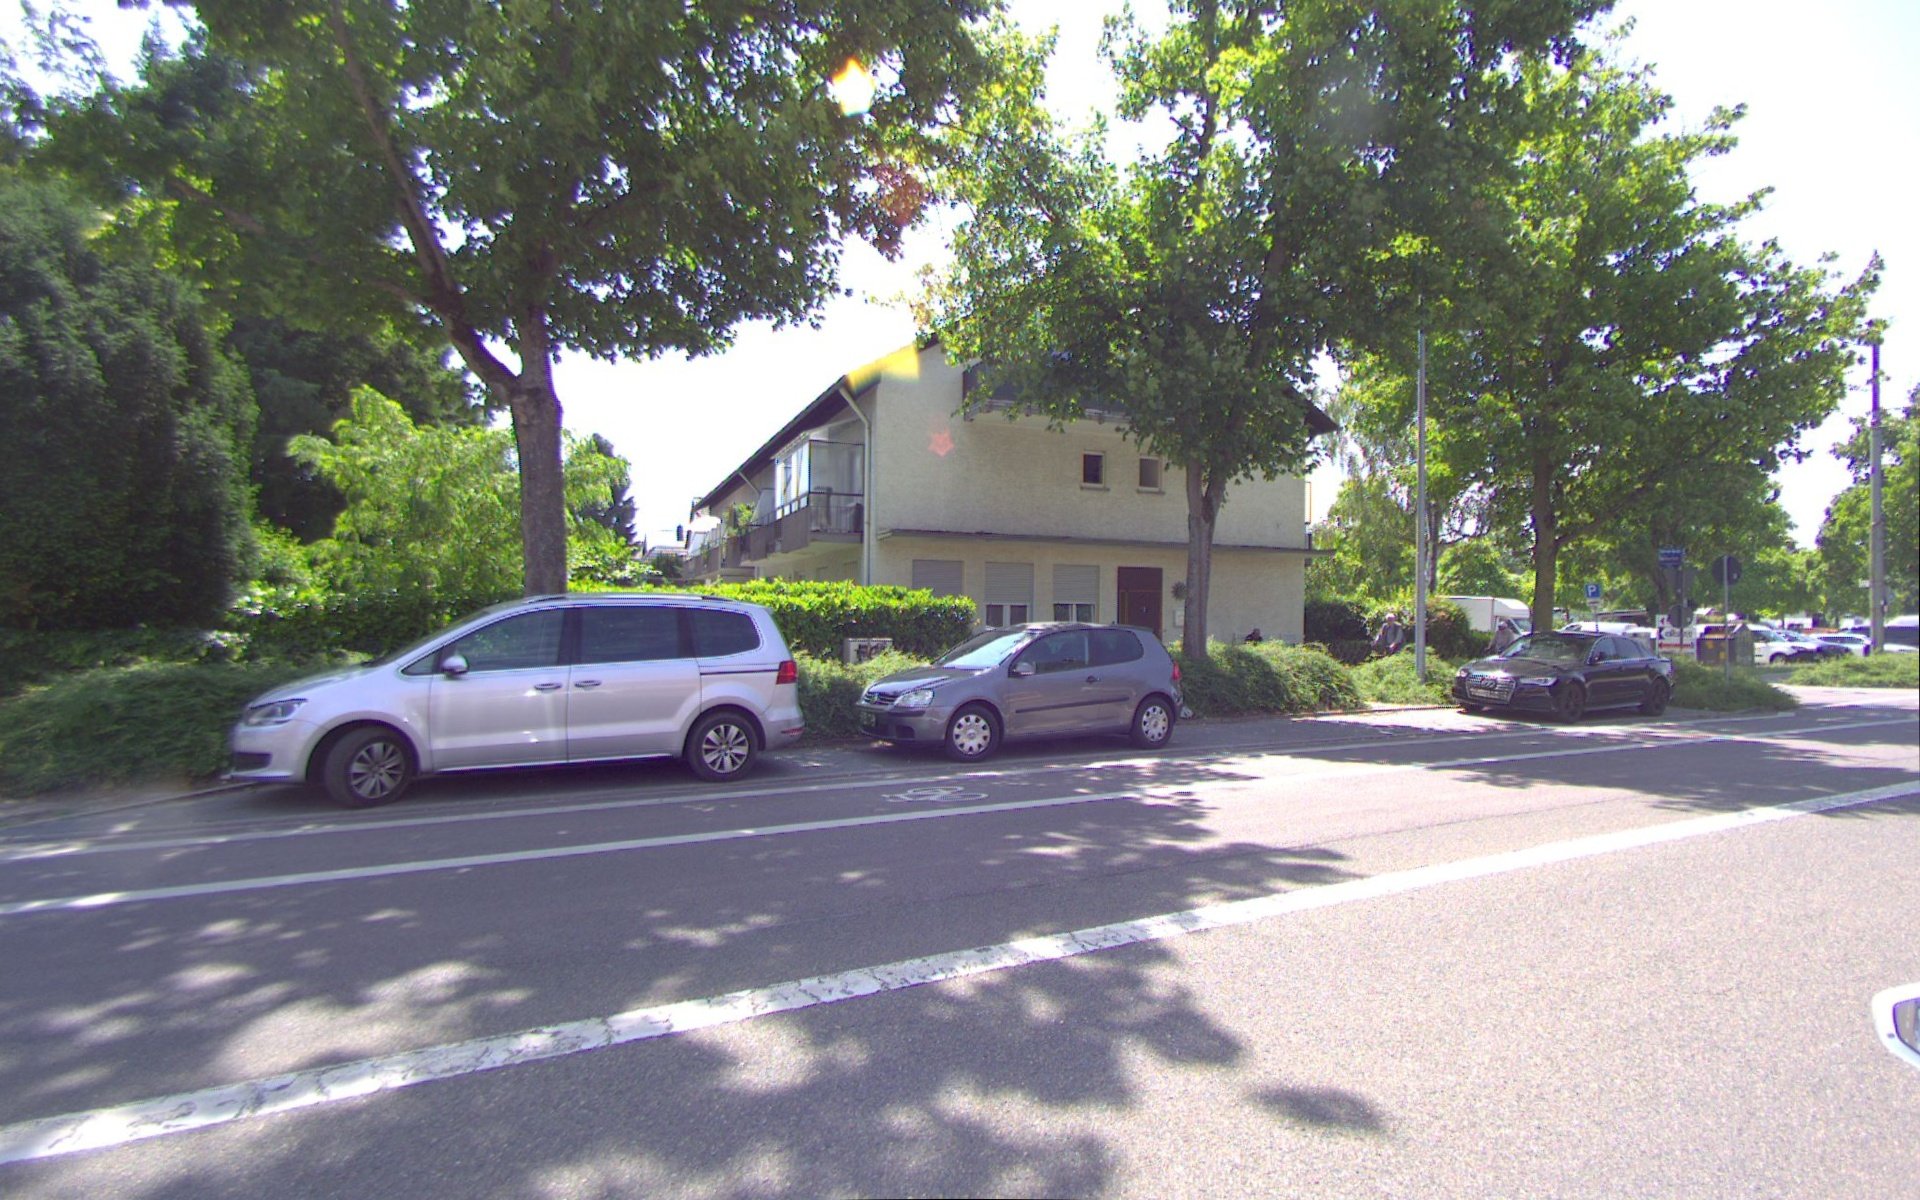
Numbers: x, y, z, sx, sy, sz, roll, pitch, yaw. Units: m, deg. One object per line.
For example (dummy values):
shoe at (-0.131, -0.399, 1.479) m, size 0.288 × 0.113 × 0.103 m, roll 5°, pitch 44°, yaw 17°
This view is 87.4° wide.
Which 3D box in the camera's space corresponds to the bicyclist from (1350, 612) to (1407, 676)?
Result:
bicyclist at (9.525, 1.002, 22.863) m, size 0.817 × 1.392 × 0.806 m, roll 2°, pitch 1°, yaw -27°

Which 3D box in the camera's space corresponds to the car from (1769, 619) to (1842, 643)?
car at (66.349, 2.399, 78.869) m, size 1.795 × 1.638 × 4.000 m, roll 2°, pitch 1°, yaw -30°

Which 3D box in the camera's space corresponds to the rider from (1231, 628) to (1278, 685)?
rider at (7.392, 1.397, 25.261) m, size 0.800 × 1.392 × 0.824 m, roll 1°, pitch -1°, yaw -22°

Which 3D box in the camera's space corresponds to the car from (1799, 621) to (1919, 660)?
car at (43.187, 1.899, 48.286) m, size 1.975 × 1.769 × 3.968 m, roll 1°, pitch -1°, yaw -30°

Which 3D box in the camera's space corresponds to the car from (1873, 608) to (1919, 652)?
car at (52.214, 1.664, 53.280) m, size 2.349 × 2.274 × 5.076 m, roll 2°, pitch 1°, yaw -28°

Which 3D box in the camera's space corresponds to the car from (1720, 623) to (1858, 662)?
car at (36.366, 1.815, 44.222) m, size 1.886 × 1.606 × 4.333 m, roll 1°, pitch -1°, yaw -23°

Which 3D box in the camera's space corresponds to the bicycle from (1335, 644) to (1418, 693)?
bicycle at (9.487, 1.550, 22.868) m, size 1.805 × 1.043 × 0.698 m, roll 2°, pitch 1°, yaw -27°

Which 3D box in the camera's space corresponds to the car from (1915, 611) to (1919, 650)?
car at (58.878, 1.916, 57.848) m, size 2.349 × 2.274 × 5.076 m, roll 2°, pitch 1°, yaw -28°

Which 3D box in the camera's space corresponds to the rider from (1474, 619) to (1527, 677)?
rider at (13.391, 1.183, 24.889) m, size 0.817 × 1.378 × 0.806 m, roll 2°, pitch 1°, yaw -27°

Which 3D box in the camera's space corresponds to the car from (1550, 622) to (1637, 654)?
car at (37.448, 2.219, 59.431) m, size 1.799 × 1.675 × 3.957 m, roll 2°, pitch 1°, yaw -37°

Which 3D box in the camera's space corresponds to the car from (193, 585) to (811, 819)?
car at (-3.931, 0.760, 9.236) m, size 4.725 × 1.687 × 1.863 m, roll 1°, pitch 0°, yaw -31°

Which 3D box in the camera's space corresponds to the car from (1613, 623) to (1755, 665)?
car at (29.391, 1.745, 40.894) m, size 1.891 × 1.606 × 4.321 m, roll 1°, pitch -1°, yaw -31°

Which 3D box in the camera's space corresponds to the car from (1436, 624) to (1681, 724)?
car at (10.585, 1.218, 17.700) m, size 4.397 × 1.496 × 1.809 m, roll 1°, pitch 1°, yaw -31°

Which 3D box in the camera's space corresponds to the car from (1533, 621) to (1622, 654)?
car at (35.567, 2.150, 57.916) m, size 1.799 × 1.675 × 3.957 m, roll 2°, pitch 1°, yaw -37°

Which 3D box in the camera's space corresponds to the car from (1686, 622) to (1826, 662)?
car at (33.902, 1.768, 42.902) m, size 1.886 × 1.606 × 4.333 m, roll 1°, pitch -1°, yaw -23°

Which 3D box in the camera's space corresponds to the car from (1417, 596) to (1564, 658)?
car at (28.778, 1.391, 54.793) m, size 2.337 × 3.005 × 6.816 m, roll 2°, pitch 1°, yaw -30°

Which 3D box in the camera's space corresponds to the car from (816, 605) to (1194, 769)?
car at (0.583, 0.908, 11.842) m, size 4.132 × 1.585 × 1.809 m, roll 1°, pitch 1°, yaw -31°
